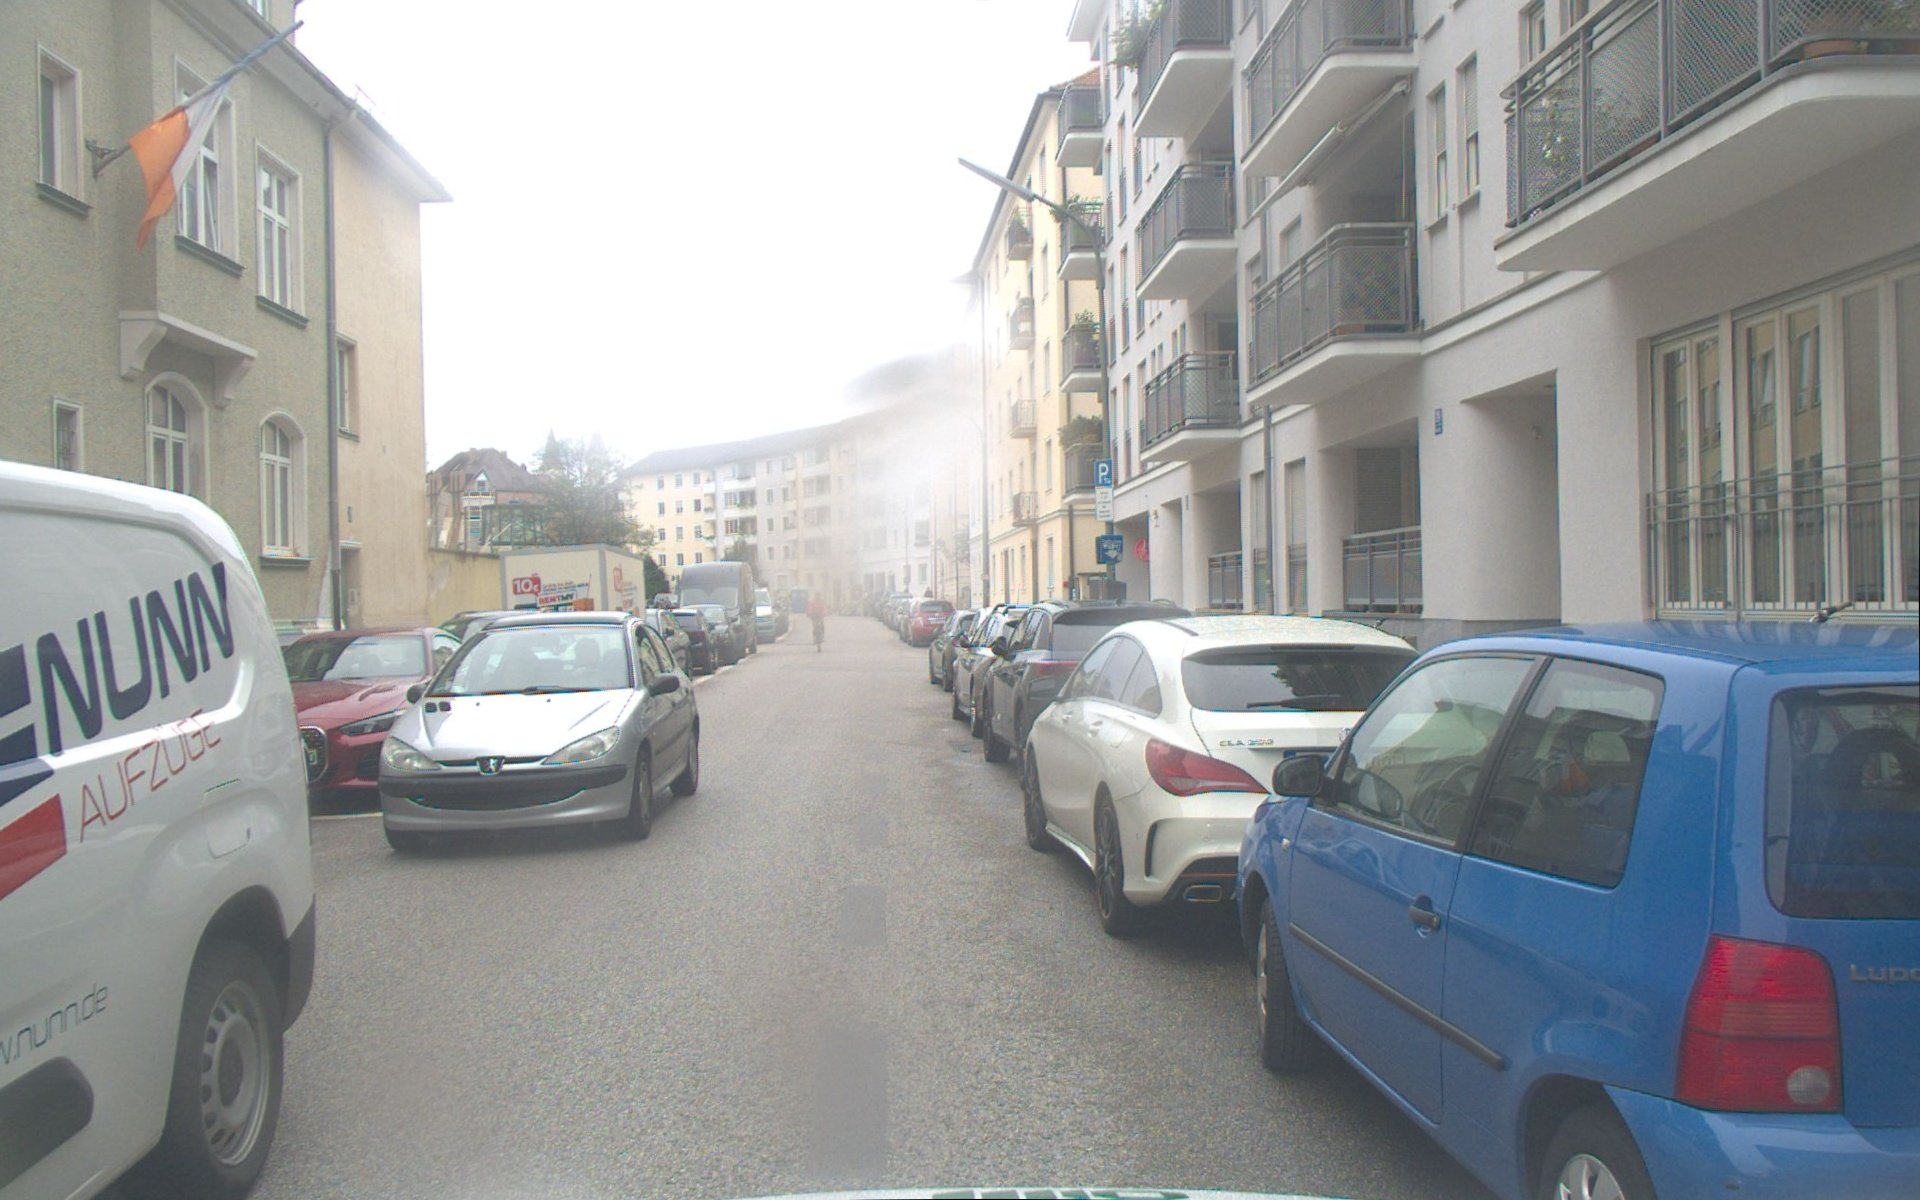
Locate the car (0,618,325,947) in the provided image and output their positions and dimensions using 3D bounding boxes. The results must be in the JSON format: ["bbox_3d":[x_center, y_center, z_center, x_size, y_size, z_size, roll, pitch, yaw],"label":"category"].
[{"bbox_3d":[-4.896,0.899,9.428,1.444,1.492,3.310,-3,0,-5],"label":"car"}]

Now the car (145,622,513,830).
[{"bbox_3d":[-5.304,0.970,14.554,1.824,1.437,4.329,-3,0,-5],"label":"car"}]

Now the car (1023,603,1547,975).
[{"bbox_3d":[1.399,0.771,8.746,1.625,1.465,4.203,1,0,-5],"label":"car"}]

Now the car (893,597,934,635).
[{"bbox_3d":[-1.989,0.668,70.092,1.567,1.517,3.796,-1,1,-4],"label":"car"}]

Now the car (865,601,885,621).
[{"bbox_3d":[-5.705,0.744,110.691,1.247,1.321,2.794,-1,0,-5],"label":"car"}]

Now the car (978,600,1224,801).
[{"bbox_3d":[1.137,0.796,15.022,1.572,1.557,3.980,1,0,-5],"label":"car"}]

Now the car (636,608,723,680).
[{"bbox_3d":[-6.351,0.958,37.756,1.668,1.471,3.820,0,1,-6],"label":"car"}]

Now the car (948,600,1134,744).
[{"bbox_3d":[0.885,0.800,20.586,1.700,1.557,4.617,1,0,-5],"label":"car"}]

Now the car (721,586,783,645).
[{"bbox_3d":[-7.556,0.512,60.429,1.845,1.965,4.598,-3,1,-3],"label":"car"}]

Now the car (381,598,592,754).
[{"bbox_3d":[-5.709,0.842,20.381,1.654,1.631,3.918,-3,0,-4],"label":"car"}]

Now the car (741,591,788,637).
[{"bbox_3d":[-7.980,0.551,67.646,1.668,1.720,4.024,-3,1,-4],"label":"car"}]

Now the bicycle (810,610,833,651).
[{"bbox_3d":[-4.065,0.887,48.556,0.494,1.148,1.773,-2,0,-1],"label":"bicycle"}]

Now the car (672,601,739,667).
[{"bbox_3d":[-6.502,0.840,42.468,1.556,1.565,3.538,-2,0,-7],"label":"car"}]

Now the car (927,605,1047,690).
[{"bbox_3d":[0.434,0.829,30.537,1.729,1.432,4.073,-1,0,-6],"label":"car"}]

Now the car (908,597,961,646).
[{"bbox_3d":[-0.868,0.676,54.290,1.564,1.535,3.798,-1,0,-3],"label":"car"}]

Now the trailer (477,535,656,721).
[{"bbox_3d":[-5.875,0.378,25.207,1.675,2.504,4.385,-3,0,-2],"label":"trailer"}]

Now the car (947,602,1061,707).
[{"bbox_3d":[0.648,0.823,26.433,1.489,1.557,3.523,0,0,-4],"label":"car"}]

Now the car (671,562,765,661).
[{"bbox_3d":[-6.937,0.279,47.935,2.046,2.682,5.375,-1,1,-2],"label":"car"}]

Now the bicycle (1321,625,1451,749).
[{"bbox_3d":[4.451,0.874,17.441,0.615,1.180,2.125,-1,0,-5],"label":"bicycle"}]

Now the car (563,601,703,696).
[{"bbox_3d":[-6.076,0.851,31.259,1.731,1.565,4.540,-3,0,-1],"label":"car"}]

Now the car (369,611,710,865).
[{"bbox_3d":[-2.729,0.817,11.486,1.549,1.436,3.610,-2,0,-2],"label":"car"}]

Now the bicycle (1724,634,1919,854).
[{"bbox_3d":[4.863,0.709,8.746,0.664,1.046,1.833,-1,-2,-4],"label":"bicycle"}]

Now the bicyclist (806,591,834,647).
[{"bbox_3d":[-4.103,0.554,48.577,0.680,1.589,0.966,-2,0,-1],"label":"bicyclist"}]

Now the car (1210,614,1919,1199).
[{"bbox_3d":[1.869,0.775,4.349,1.587,1.437,3.549,1,-1,-5],"label":"car"}]

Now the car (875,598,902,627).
[{"bbox_3d":[-4.300,0.756,99.033,1.445,1.669,3.997,0,0,-5],"label":"car"}]

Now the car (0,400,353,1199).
[{"bbox_3d":[-2.481,0.595,2.546,1.737,1.835,4.567,-1,0,-5],"label":"car"}]
